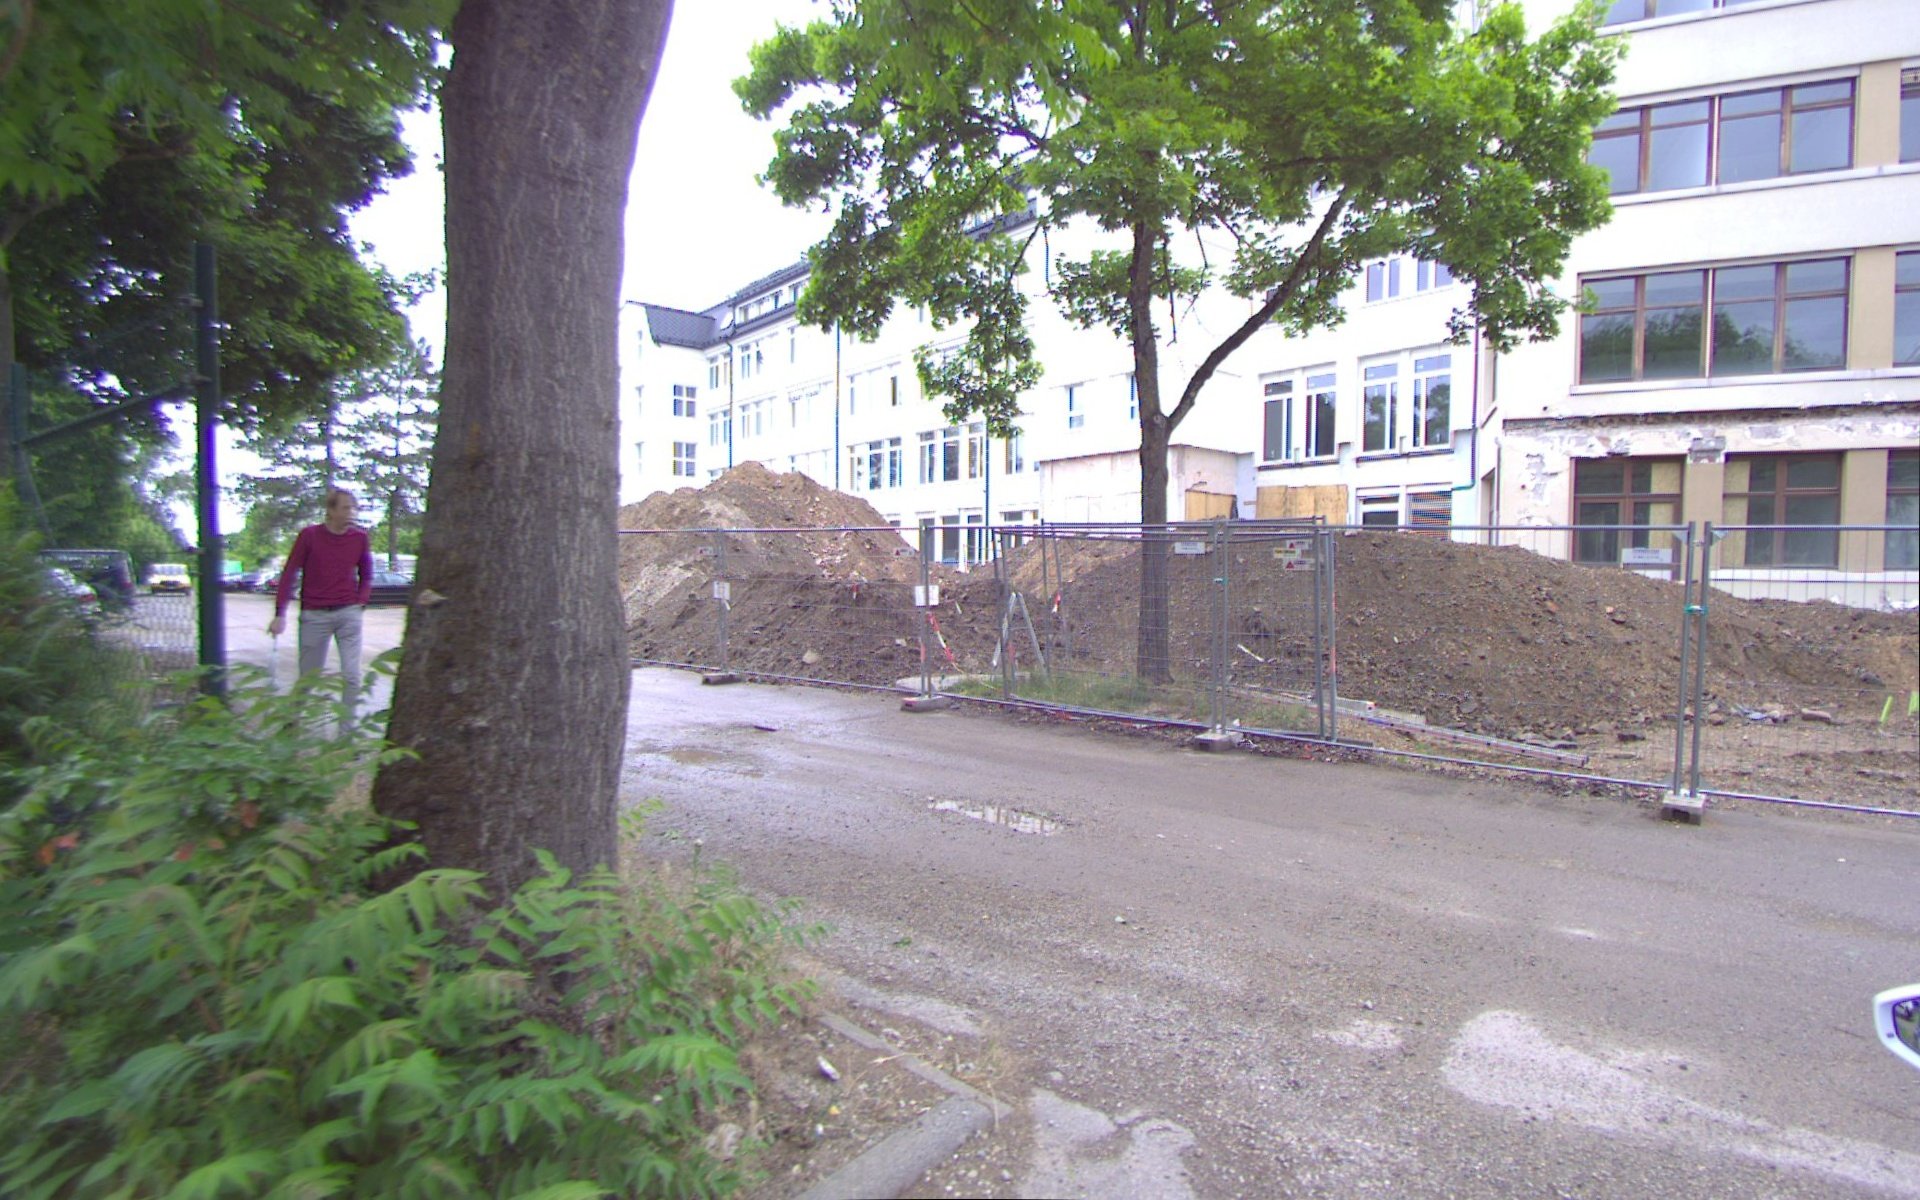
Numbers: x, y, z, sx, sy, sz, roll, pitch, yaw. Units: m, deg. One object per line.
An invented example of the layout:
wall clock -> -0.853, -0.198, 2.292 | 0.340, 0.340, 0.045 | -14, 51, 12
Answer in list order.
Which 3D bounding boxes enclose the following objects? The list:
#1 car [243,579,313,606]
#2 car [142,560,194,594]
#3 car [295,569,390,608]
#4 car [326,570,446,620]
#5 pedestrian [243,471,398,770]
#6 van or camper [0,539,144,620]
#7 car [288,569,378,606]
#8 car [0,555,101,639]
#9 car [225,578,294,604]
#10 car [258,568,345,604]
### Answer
car -> -49.126, -0.563, 72.348 | 3.971, 1.862, 1.975 | 0, 1, -43
car -> -50.314, -1.454, 63.776 | 3.944, 2.041, 2.113 | 2, 1, 44
car -> -30.635, -0.554, 49.919 | 3.957, 1.862, 1.982 | 1, 1, -33
car -> -22.316, -0.191, 39.108 | 3.957, 1.862, 1.982 | 1, 1, -33
pedestrian -> -4.926, 0.136, 7.718 | 0.789, 2.092, 1.185 | 0, 1, -44
van or camper -> -26.911, -0.587, 29.571 | 4.464, 2.288, 1.977 | 0, 1, -40
car -> -32.888, -0.651, 52.765 | 3.957, 1.862, 1.982 | 1, 1, -33
car -> -19.230, -0.084, 19.310 | 1.725, 1.596, 3.870 | 2, 1, 38
car -> -51.897, -0.666, 74.454 | 3.971, 1.862, 1.975 | 0, 1, -43
car -> -36.190, -0.772, 55.303 | 3.957, 1.862, 1.982 | 1, 1, -33
